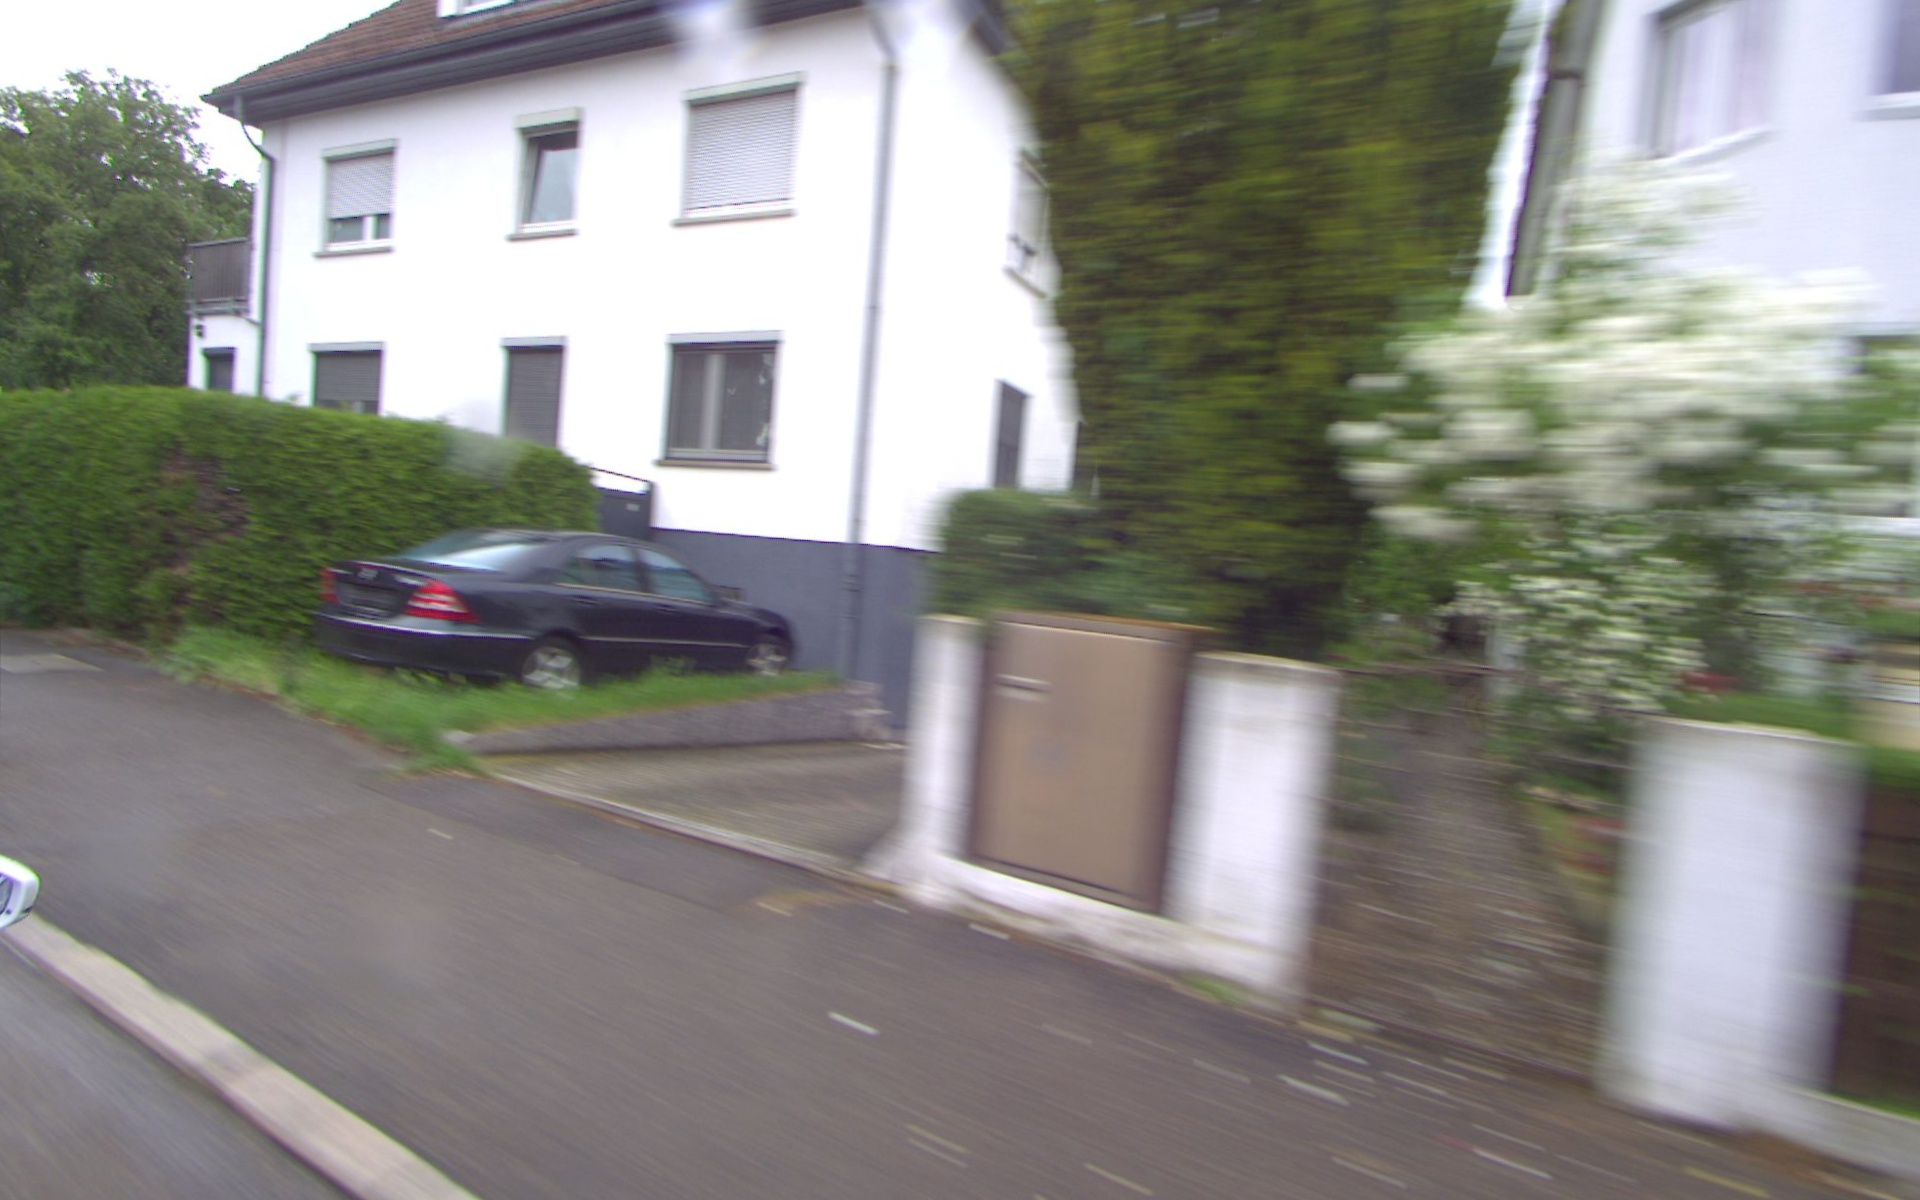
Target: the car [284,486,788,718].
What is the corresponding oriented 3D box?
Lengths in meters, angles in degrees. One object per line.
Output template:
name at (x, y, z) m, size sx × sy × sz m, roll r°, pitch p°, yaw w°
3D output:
car at (-3.350, 0.005, 8.673) m, size 1.588 × 1.407 × 3.745 m, roll 9°, pitch 4°, yaw 28°
